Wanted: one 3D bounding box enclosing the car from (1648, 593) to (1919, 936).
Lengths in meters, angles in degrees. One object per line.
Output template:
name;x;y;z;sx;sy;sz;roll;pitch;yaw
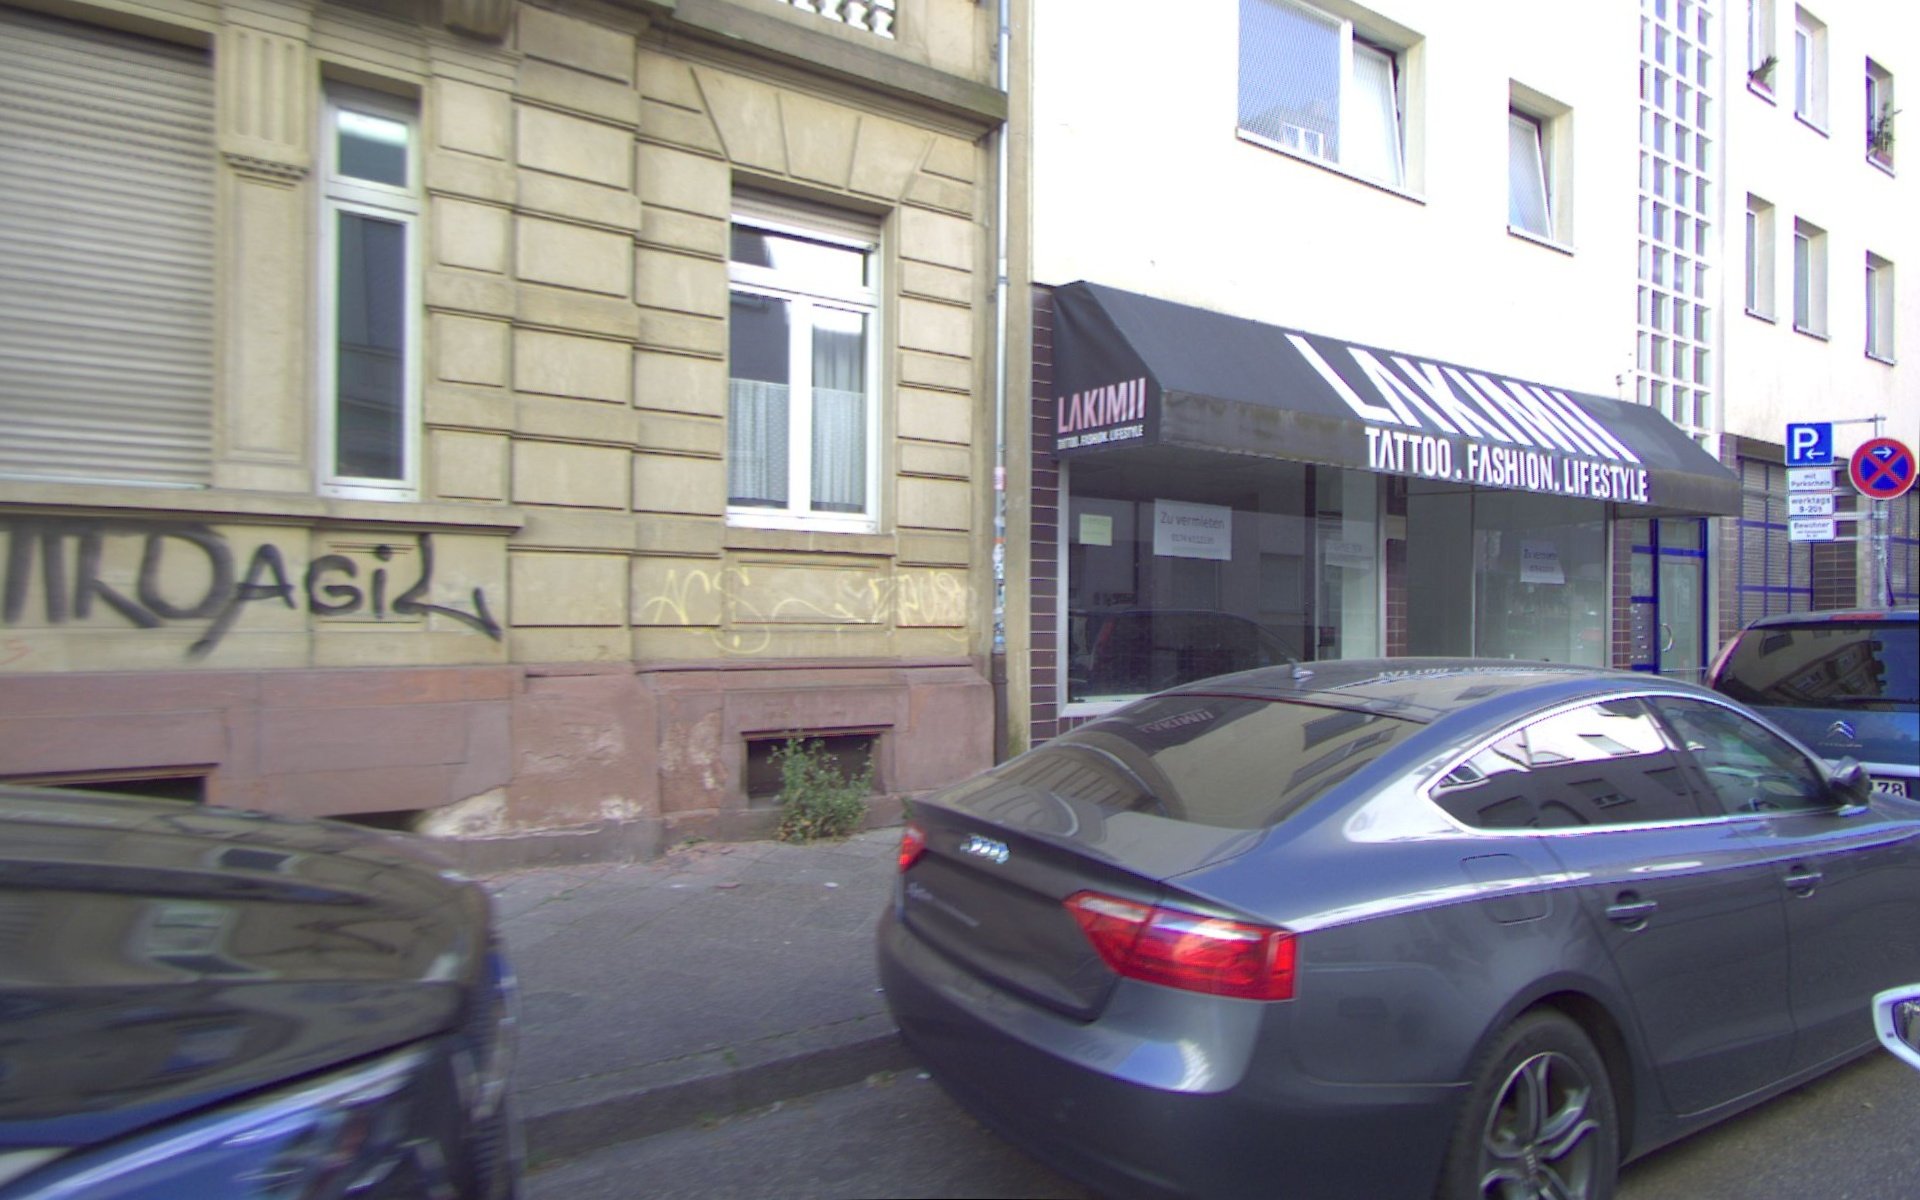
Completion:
car;6.559;0.863;6.424;4.615;1.688;1.774;1;-2;-30

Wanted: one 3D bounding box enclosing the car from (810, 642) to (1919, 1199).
car;2.029;0.892;3.629;4.762;1.435;1.837;2;-3;-30

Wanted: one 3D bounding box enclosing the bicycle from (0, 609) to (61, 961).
bicycle;-4.429;0.657;3.482;1.844;1.294;0.508;2;-1;-29

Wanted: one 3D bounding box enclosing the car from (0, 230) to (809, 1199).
car;-2.822;0.596;0.573;5.082;1.759;1.927;1;-2;-31
